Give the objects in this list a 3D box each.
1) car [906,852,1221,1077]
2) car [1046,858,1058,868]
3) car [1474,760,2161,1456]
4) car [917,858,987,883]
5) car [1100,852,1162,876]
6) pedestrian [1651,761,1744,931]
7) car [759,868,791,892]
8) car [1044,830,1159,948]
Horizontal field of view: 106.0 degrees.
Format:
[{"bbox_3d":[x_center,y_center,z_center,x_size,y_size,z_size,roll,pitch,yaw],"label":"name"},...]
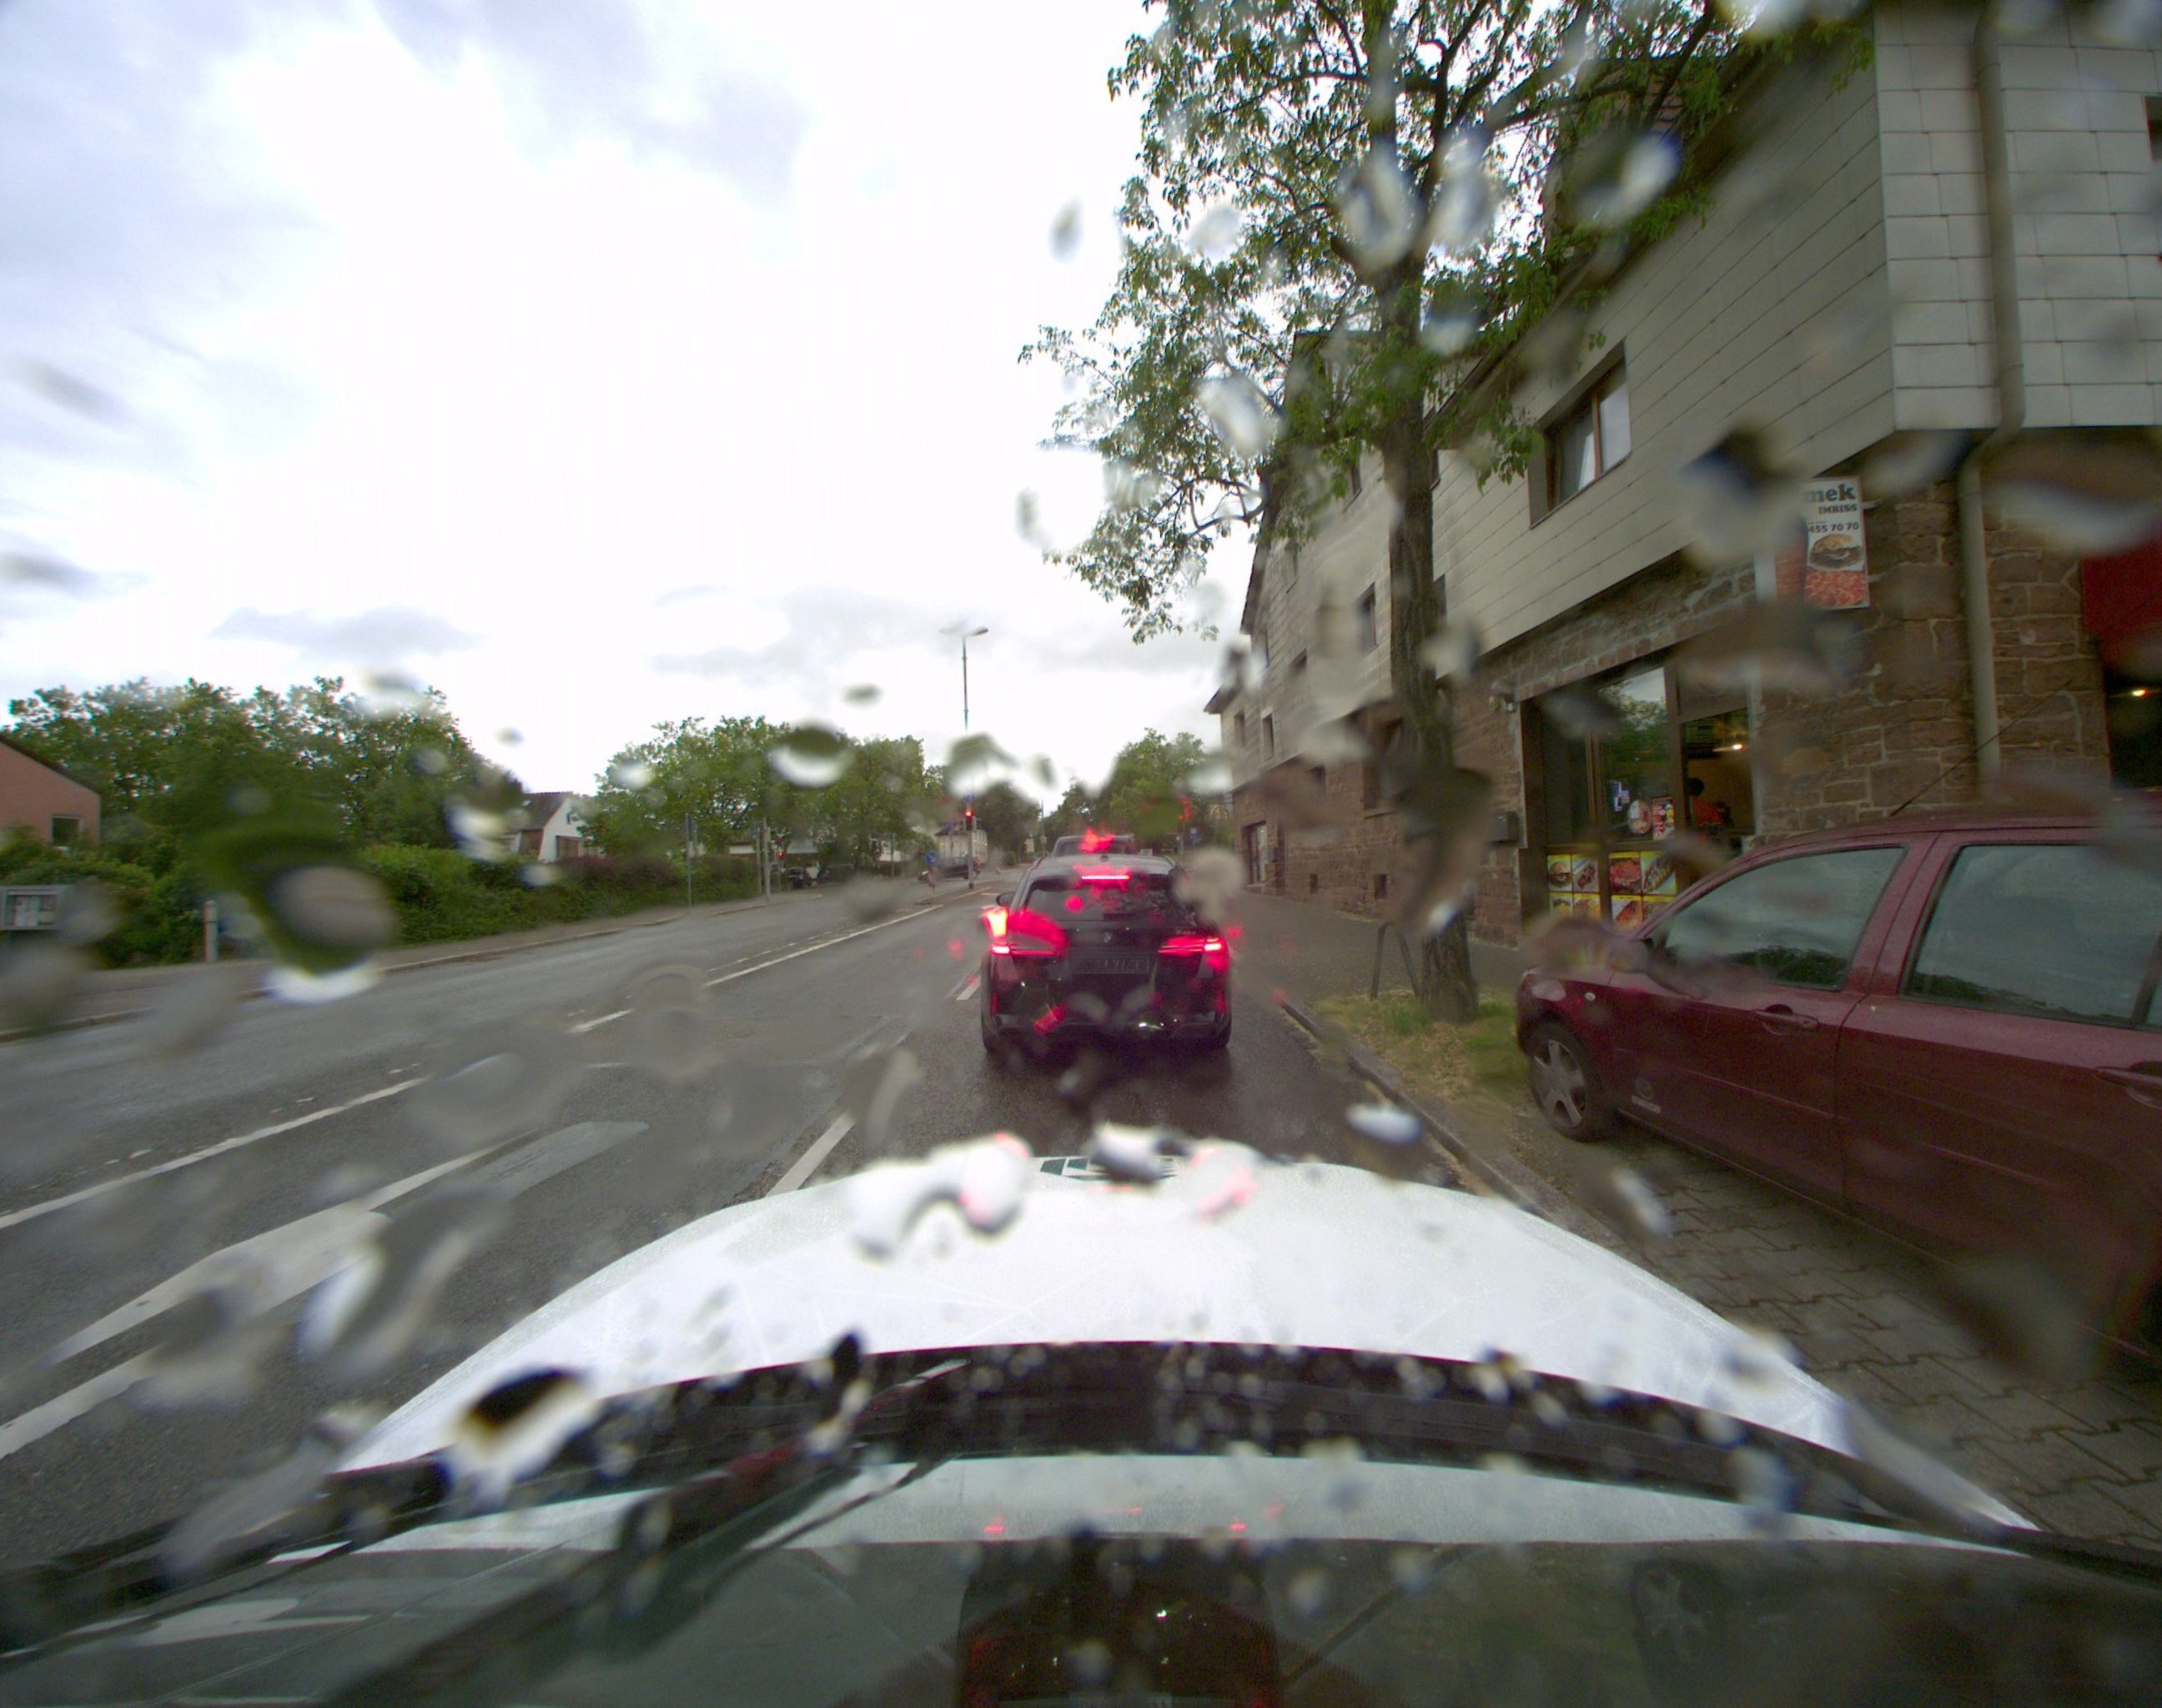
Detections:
[{"bbox_3d":[-0.133,0.725,7.596,2.058,1.446,4.481,-1,0,-1],"label":"car"},{"bbox_3d":[-4.242,1.254,117.982,1.459,1.398,3.322,-1,0,1],"label":"car"},{"bbox_3d":[3.043,0.483,2.700,1.579,1.490,3.625,-5,1,-1],"label":"car"},{"bbox_3d":[-8.800,1.098,55.549,4.479,1.587,2.059,-1,0,-17],"label":"car"},{"bbox_3d":[3.561,0.706,57.750,3.966,1.510,1.981,-2,0,-30],"label":"car"},{"bbox_3d":[6.924,-0.088,9.164,0.635,1.839,0.483,-1,0,1],"label":"pedestrian"},{"bbox_3d":[-21.662,1.807,57.776,2.000,1.552,3.973,-2,0,-20],"label":"car"},{"bbox_3d":[0.312,0.539,14.873,1.778,1.817,3.999,-1,0,0],"label":"car"}]
